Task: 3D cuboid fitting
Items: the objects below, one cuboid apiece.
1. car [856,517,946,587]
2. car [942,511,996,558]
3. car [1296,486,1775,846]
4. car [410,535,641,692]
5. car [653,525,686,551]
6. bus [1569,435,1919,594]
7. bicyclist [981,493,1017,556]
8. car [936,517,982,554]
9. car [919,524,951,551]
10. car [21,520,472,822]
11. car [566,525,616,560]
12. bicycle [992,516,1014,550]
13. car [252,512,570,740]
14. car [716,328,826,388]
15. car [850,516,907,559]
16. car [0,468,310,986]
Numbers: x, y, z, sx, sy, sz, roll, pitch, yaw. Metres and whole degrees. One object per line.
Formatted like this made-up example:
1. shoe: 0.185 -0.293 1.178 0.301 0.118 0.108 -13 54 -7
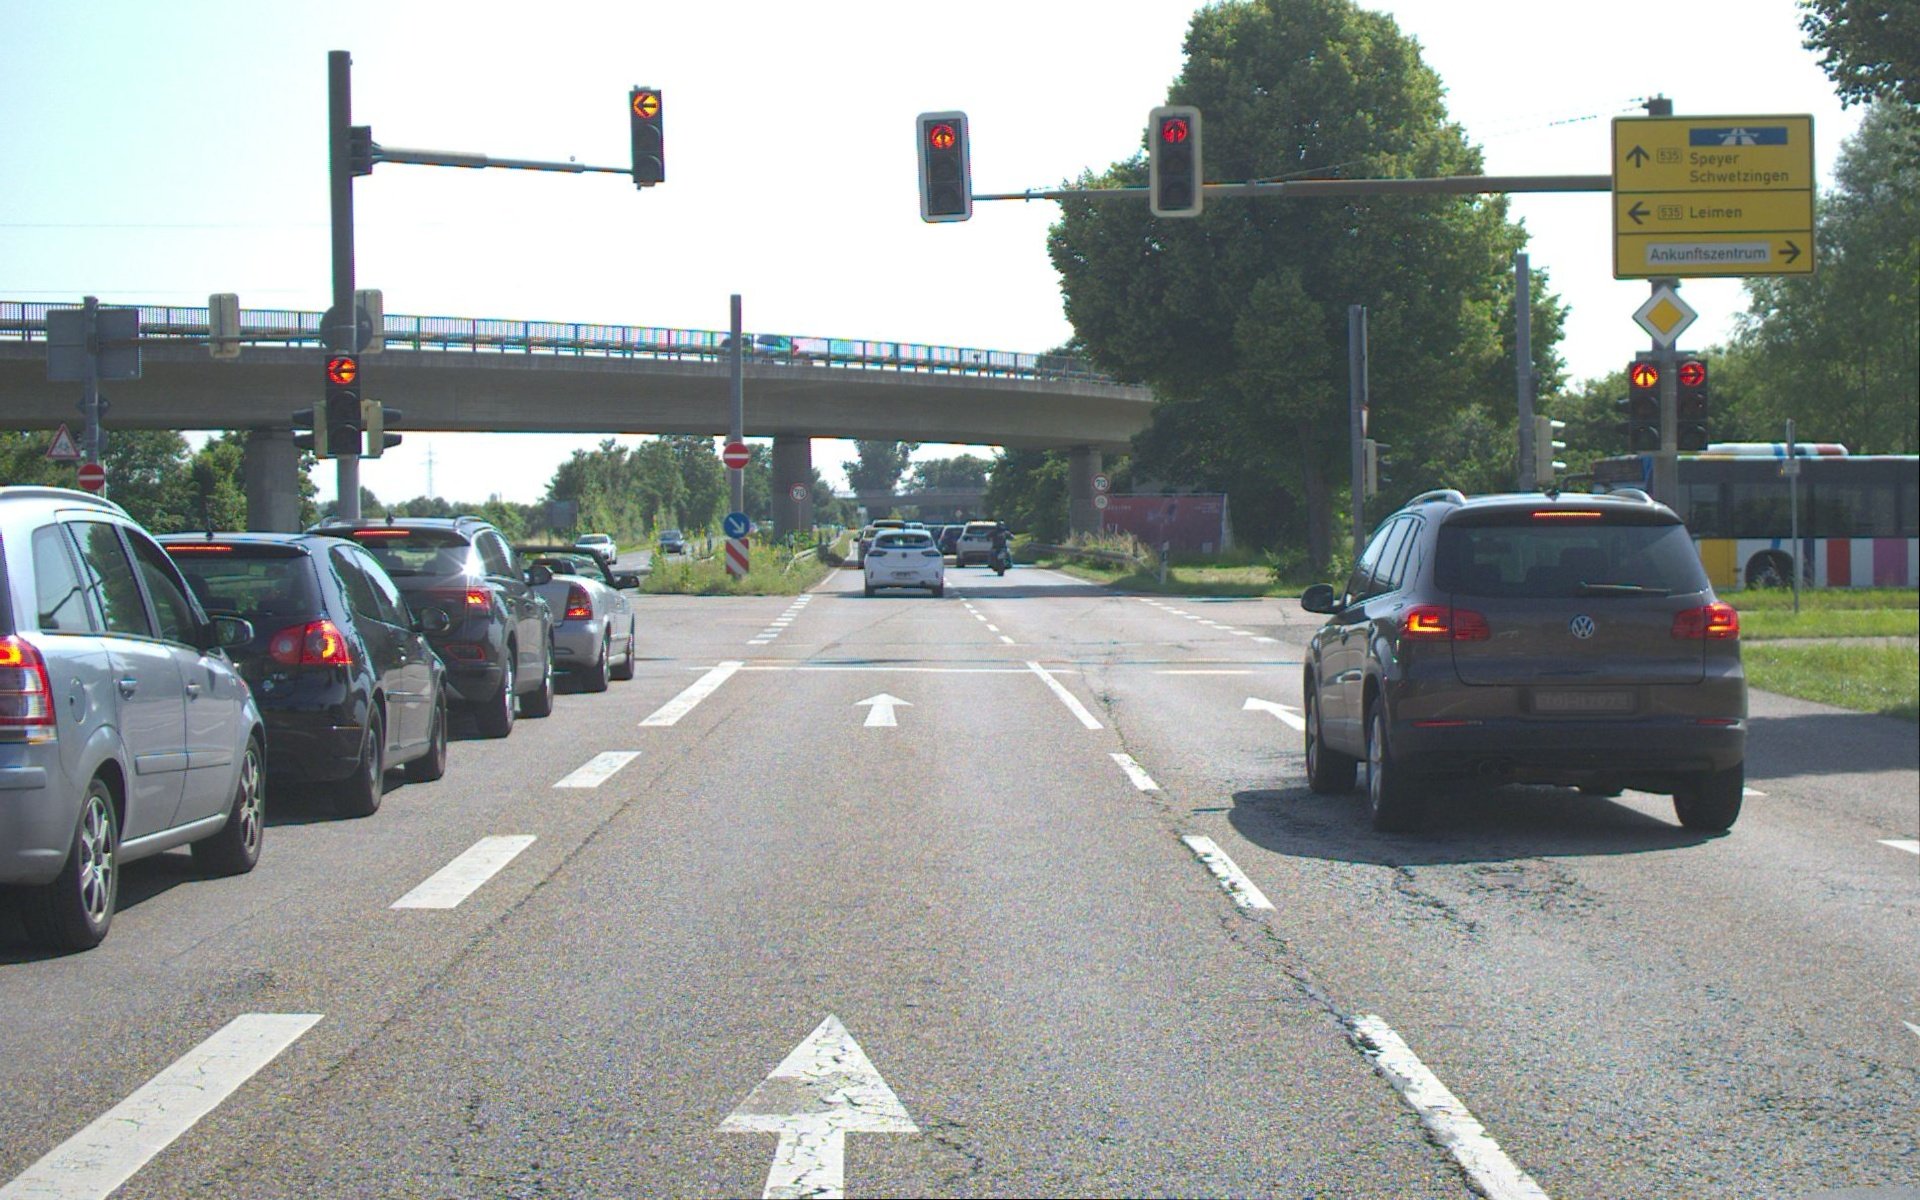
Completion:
1. car: -1.256 -1.060 74.844 1.851 1.456 4.000 1 1 0
2. car: 0.333 -2.385 124.860 1.873 1.634 4.000 1 1 0
3. car: 2.888 0.268 18.113 1.755 1.650 4.147 1 1 -1
4. car: -3.989 0.080 32.119 1.673 1.330 4.098 0 2 -1
5. car: -17.058 -3.652 201.829 1.614 1.437 3.776 -3 1 -1
6. bus: 18.025 -1.729 67.064 11.935 2.867 2.943 -2 1 -15
7. bicyclist: 1.181 -2.279 103.292 1.007 1.880 1.327 -1 1 -1
8. car: -0.063 -3.013 161.107 1.993 1.626 4.000 2 0 -1
9. car: -1.611 -3.992 220.709 1.993 1.650 4.000 2 0 -1
10. car: -3.799 0.303 18.965 1.666 1.469 4.098 0 2 -1
11. car: -17.097 -2.679 159.458 1.882 1.510 4.149 -4 1 -2
12. bicycle: 1.281 -2.010 103.136 0.600 0.979 2.361 -1 2 -1
13. car: -3.971 0.125 25.451 1.728 1.542 4.098 0 2 -1
14. car: -6.593 -8.449 120.237 1.997 1.831 3.993 2 0 29
15. car: -2.857 -2.206 121.189 1.873 1.487 4.000 0 1 0
16. car: -3.780 0.361 13.239 1.741 1.666 4.357 -1 2 0
